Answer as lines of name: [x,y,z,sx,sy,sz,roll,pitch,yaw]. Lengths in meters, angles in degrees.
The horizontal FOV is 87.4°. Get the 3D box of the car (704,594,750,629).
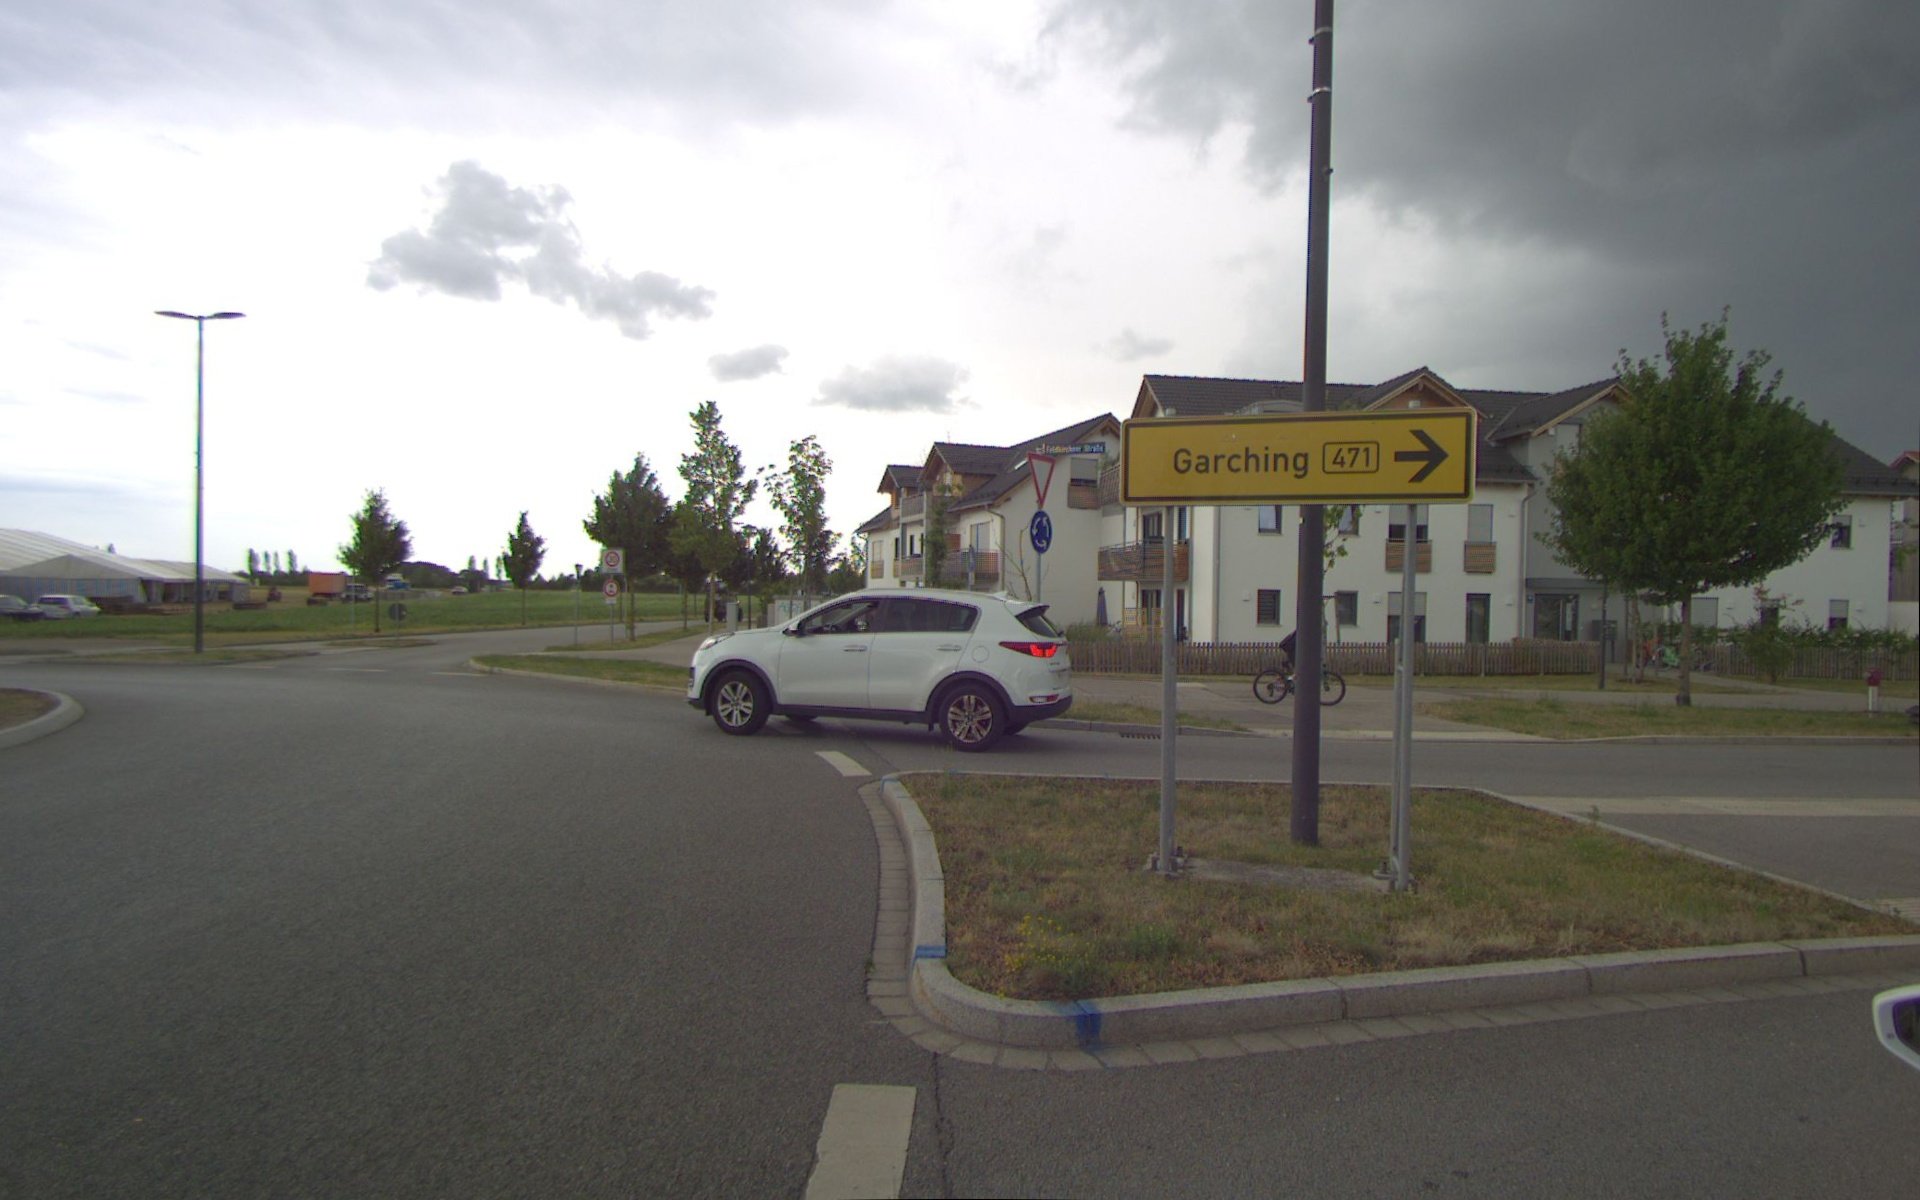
car: [-16.787,0.792,72.612,1.960,2.284,4.572,2,1,4]

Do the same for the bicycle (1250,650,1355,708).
bicycle: [6.034,1.380,17.732,1.679,0.959,0.497,1,-1,7]

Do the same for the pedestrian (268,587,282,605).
pedestrian: [-77.139,-0.477,113.065,1.035,2.041,1.056,1,1,-19]

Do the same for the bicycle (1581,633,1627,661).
bicycle: [21.329,1.554,33.279,1.312,0.855,0.368,1,3,-7]

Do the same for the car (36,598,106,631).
car: [-45.136,0.696,51.080,1.710,1.574,3.971,1,0,-28]

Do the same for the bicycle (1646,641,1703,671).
bicycle: [21.633,1.704,30.409,1.518,0.854,0.368,1,3,-7]

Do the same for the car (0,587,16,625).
car: [-43.678,0.230,44.403,3.804,1.628,1.634,1,0,26]

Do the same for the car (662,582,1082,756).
car: [-0.920,0.701,11.322,4.360,1.647,1.715,1,-1,14]

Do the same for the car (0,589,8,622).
car: [-48.397,0.282,48.845,1.809,1.628,3.808,1,0,-23]

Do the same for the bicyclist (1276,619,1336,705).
bicyclist: [6.102,1.079,17.748,0.851,1.466,0.725,0,-1,7]
